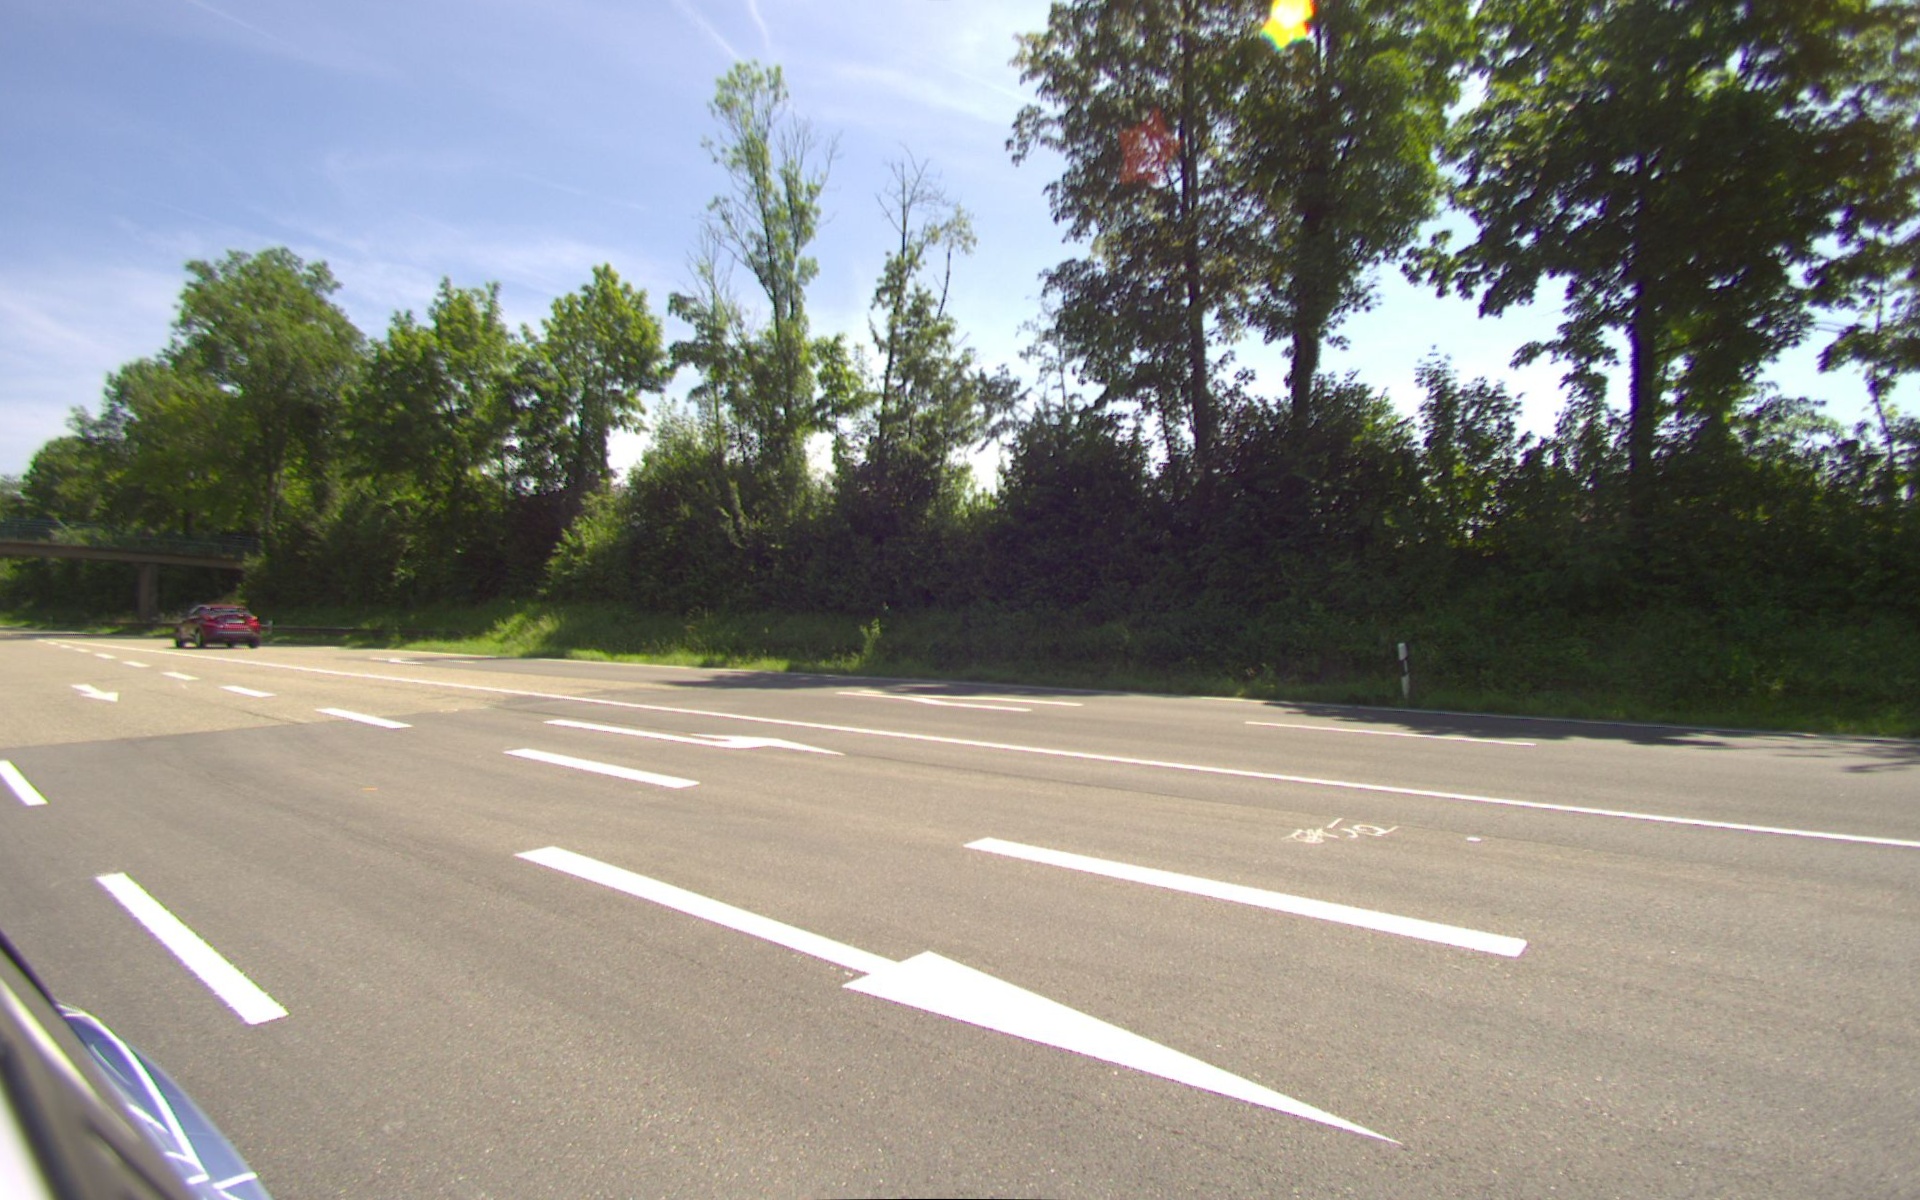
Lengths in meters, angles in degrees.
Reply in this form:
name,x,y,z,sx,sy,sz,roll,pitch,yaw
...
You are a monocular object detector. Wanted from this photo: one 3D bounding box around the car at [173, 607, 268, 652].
name,x,y,z,sx,sy,sz,roll,pitch,yaw
car,-26.294,1.009,35.938,3.761,1.520,1.884,-1,-1,40
